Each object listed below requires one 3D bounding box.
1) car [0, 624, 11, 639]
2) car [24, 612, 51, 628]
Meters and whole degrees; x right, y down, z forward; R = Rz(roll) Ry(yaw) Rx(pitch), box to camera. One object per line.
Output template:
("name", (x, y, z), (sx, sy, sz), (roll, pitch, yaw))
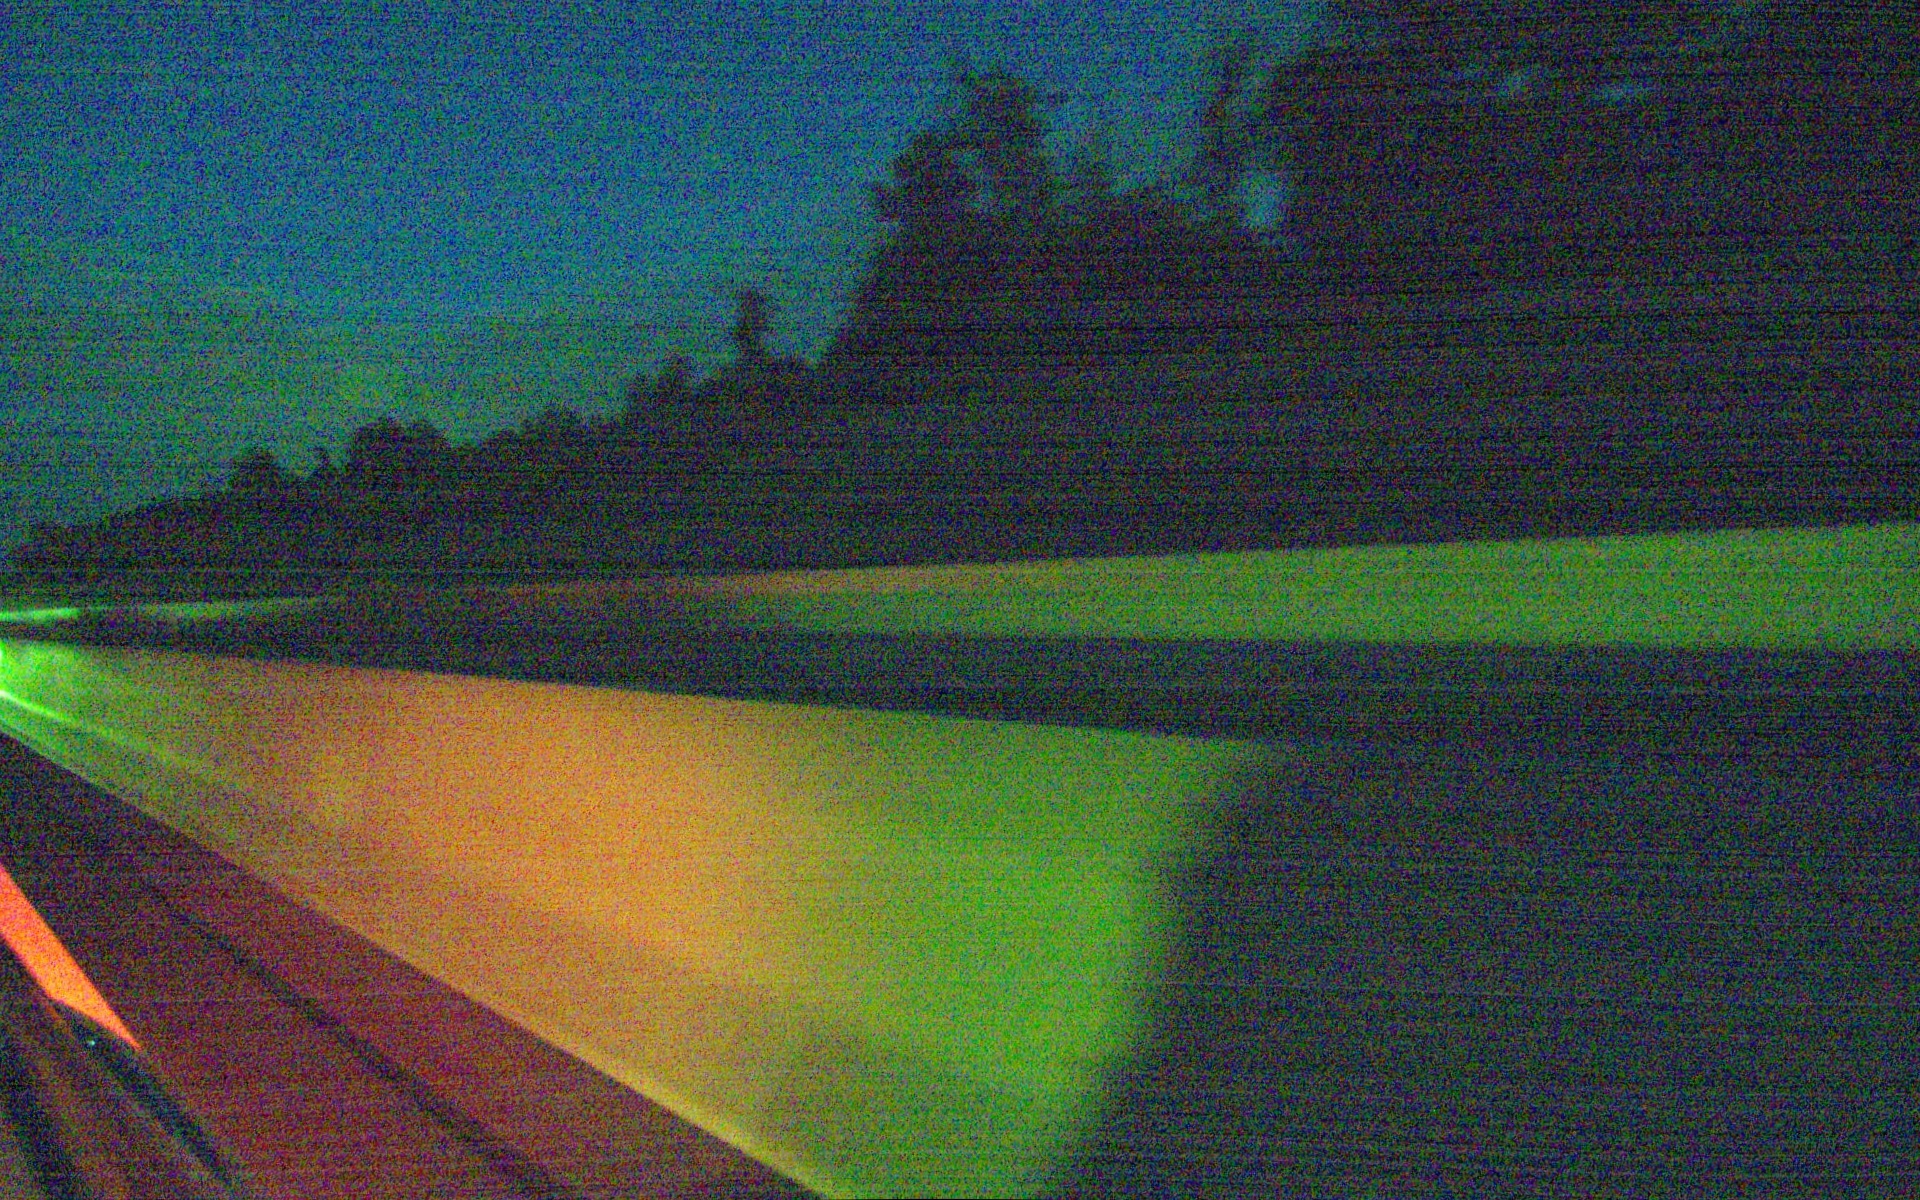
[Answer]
("car", (-110.429, 3.671, 115.845), (4.744, 1.648, 1.973), (-3, 2, 40))
("car", (-118.439, 2.560, 129.954), (3.996, 1.940, 1.974), (-2, -1, 39))
